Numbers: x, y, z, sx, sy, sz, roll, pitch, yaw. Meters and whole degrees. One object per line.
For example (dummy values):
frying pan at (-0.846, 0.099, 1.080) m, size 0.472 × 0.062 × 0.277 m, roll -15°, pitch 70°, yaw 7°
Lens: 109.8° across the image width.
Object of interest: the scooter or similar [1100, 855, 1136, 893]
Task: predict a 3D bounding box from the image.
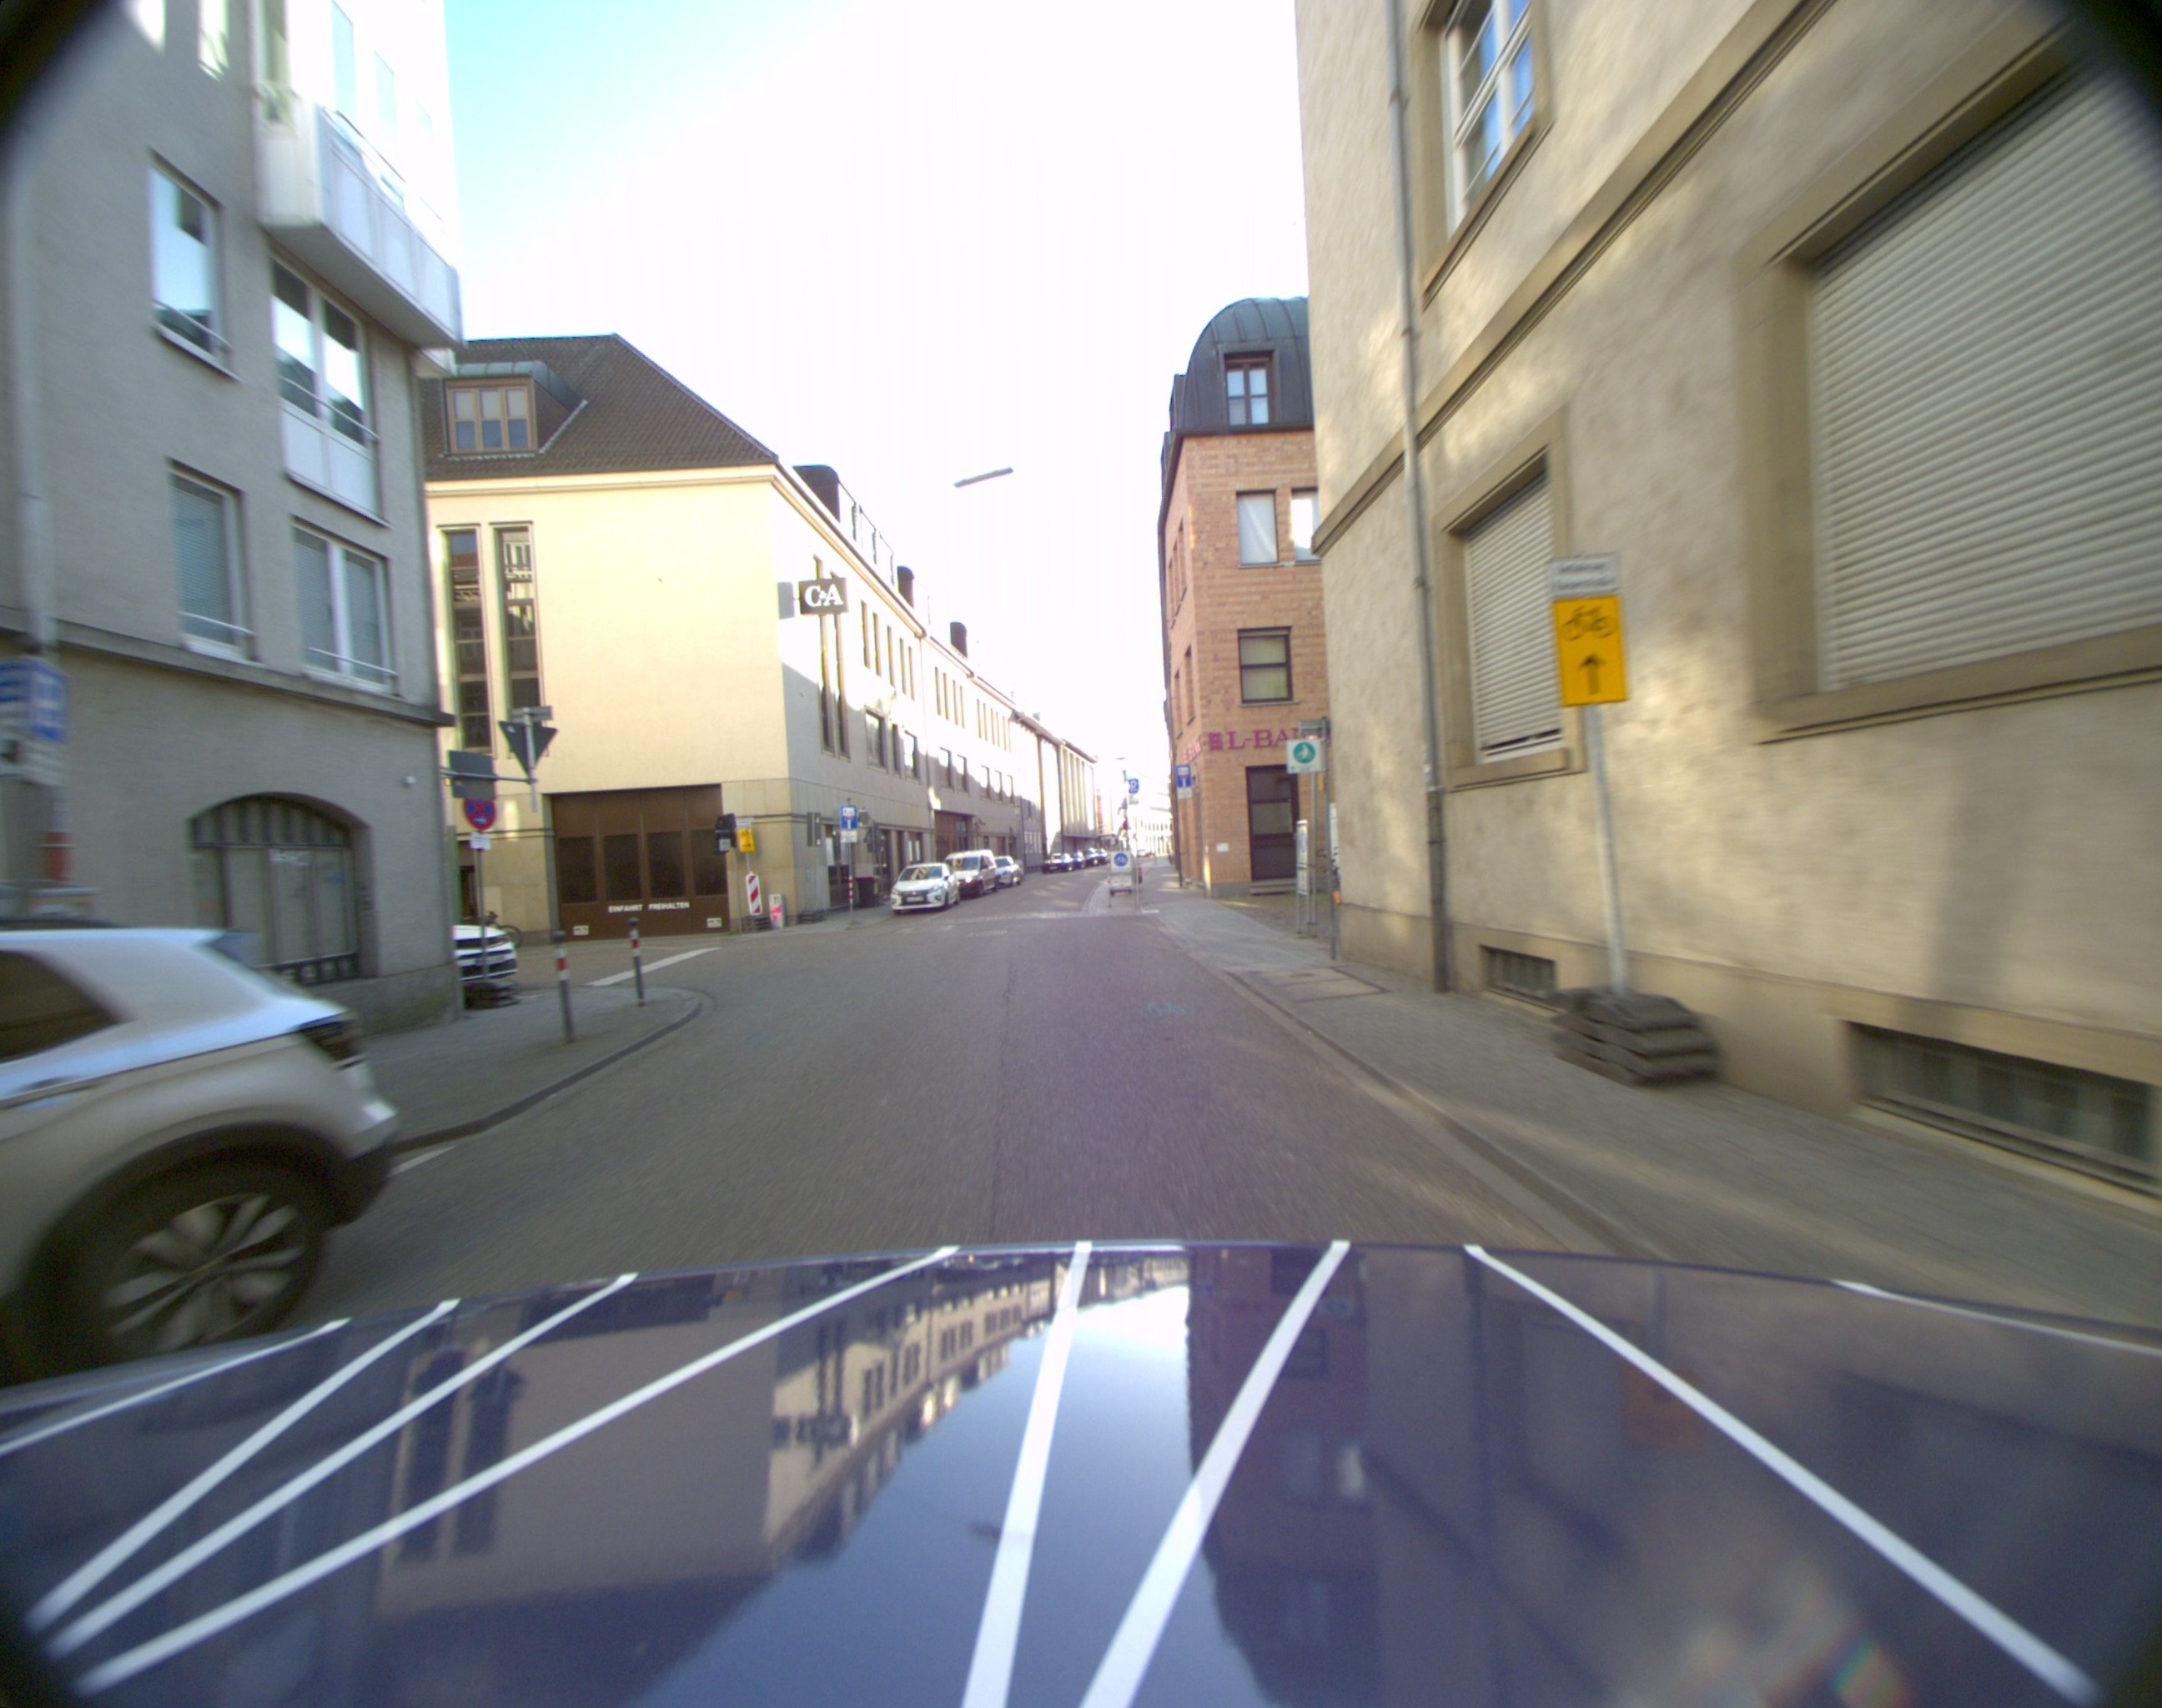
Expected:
scooter or similar at (1.256, 0.665, 25.572) m, size 0.467 × 1.218 × 1.302 m, roll -2°, pitch 0°, yaw 39°

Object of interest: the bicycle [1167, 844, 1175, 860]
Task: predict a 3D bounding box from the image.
bicycle at (6.915, -0.177, 58.415) m, size 0.431 × 1.137 × 1.691 m, roll -4°, pitch 1°, yaw 9°

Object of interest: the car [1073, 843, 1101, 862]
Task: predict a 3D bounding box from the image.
car at (0.593, -0.149, 69.444) m, size 1.964 × 1.527 × 4.198 m, roll -5°, pitch 1°, yaw 8°

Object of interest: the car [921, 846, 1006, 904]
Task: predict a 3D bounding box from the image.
car at (-4.530, 0.736, 30.302) m, size 1.947 × 1.850 × 5.195 m, roll -8°, pitch 1°, yaw 5°

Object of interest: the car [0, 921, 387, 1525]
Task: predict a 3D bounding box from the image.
car at (-4.191, 1.159, 1.276) m, size 1.828 × 1.550 × 3.990 m, roll -4°, pitch 1°, yaw 17°

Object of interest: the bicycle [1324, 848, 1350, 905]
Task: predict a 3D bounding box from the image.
bicycle at (5.697, 0.479, 16.875) m, size 0.431 × 1.137 × 1.593 m, roll -4°, pitch 1°, yaw 20°

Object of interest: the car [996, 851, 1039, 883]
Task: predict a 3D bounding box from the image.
car at (-3.845, 0.756, 46.591) m, size 1.775 × 1.574 × 3.857 m, roll -8°, pitch 1°, yaw 6°

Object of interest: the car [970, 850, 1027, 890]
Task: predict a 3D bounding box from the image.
car at (-3.899, 0.714, 36.497) m, size 1.775 × 1.574 × 3.857 m, roll -8°, pitch 1°, yaw 5°

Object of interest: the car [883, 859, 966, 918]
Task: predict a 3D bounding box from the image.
car at (-4.904, 1.018, 24.319) m, size 1.735 × 1.539 × 3.999 m, roll -5°, pitch 1°, yaw 0°

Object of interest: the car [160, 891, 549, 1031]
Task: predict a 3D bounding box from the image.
car at (-10.694, 1.529, 11.405) m, size 4.078 × 1.559 × 1.767 m, roll -4°, pitch 1°, yaw 2°

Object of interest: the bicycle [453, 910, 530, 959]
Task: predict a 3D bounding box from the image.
bicycle at (-14.437, 1.973, 18.614) m, size 1.649 × 1.067 × 0.488 m, roll -4°, pitch 1°, yaw 14°

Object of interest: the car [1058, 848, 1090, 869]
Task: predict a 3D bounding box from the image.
car at (-0.571, 0.350, 63.480) m, size 1.964 × 1.400 × 4.198 m, roll -5°, pitch 1°, yaw 8°

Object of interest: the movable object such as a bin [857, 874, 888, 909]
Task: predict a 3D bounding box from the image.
movable object such as a bin at (-6.975, 1.236, 25.455) m, size 0.688 × 1.080 × 0.929 m, roll -5°, pitch 1°, yaw 1°

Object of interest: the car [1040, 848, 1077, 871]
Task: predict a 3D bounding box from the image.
car at (-1.637, 0.397, 57.039) m, size 1.964 × 1.400 × 4.198 m, roll -5°, pitch 1°, yaw 8°

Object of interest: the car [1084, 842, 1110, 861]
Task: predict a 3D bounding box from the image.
car at (1.640, -0.283, 76.473) m, size 1.964 × 1.637 × 4.198 m, roll -5°, pitch 1°, yaw 8°
